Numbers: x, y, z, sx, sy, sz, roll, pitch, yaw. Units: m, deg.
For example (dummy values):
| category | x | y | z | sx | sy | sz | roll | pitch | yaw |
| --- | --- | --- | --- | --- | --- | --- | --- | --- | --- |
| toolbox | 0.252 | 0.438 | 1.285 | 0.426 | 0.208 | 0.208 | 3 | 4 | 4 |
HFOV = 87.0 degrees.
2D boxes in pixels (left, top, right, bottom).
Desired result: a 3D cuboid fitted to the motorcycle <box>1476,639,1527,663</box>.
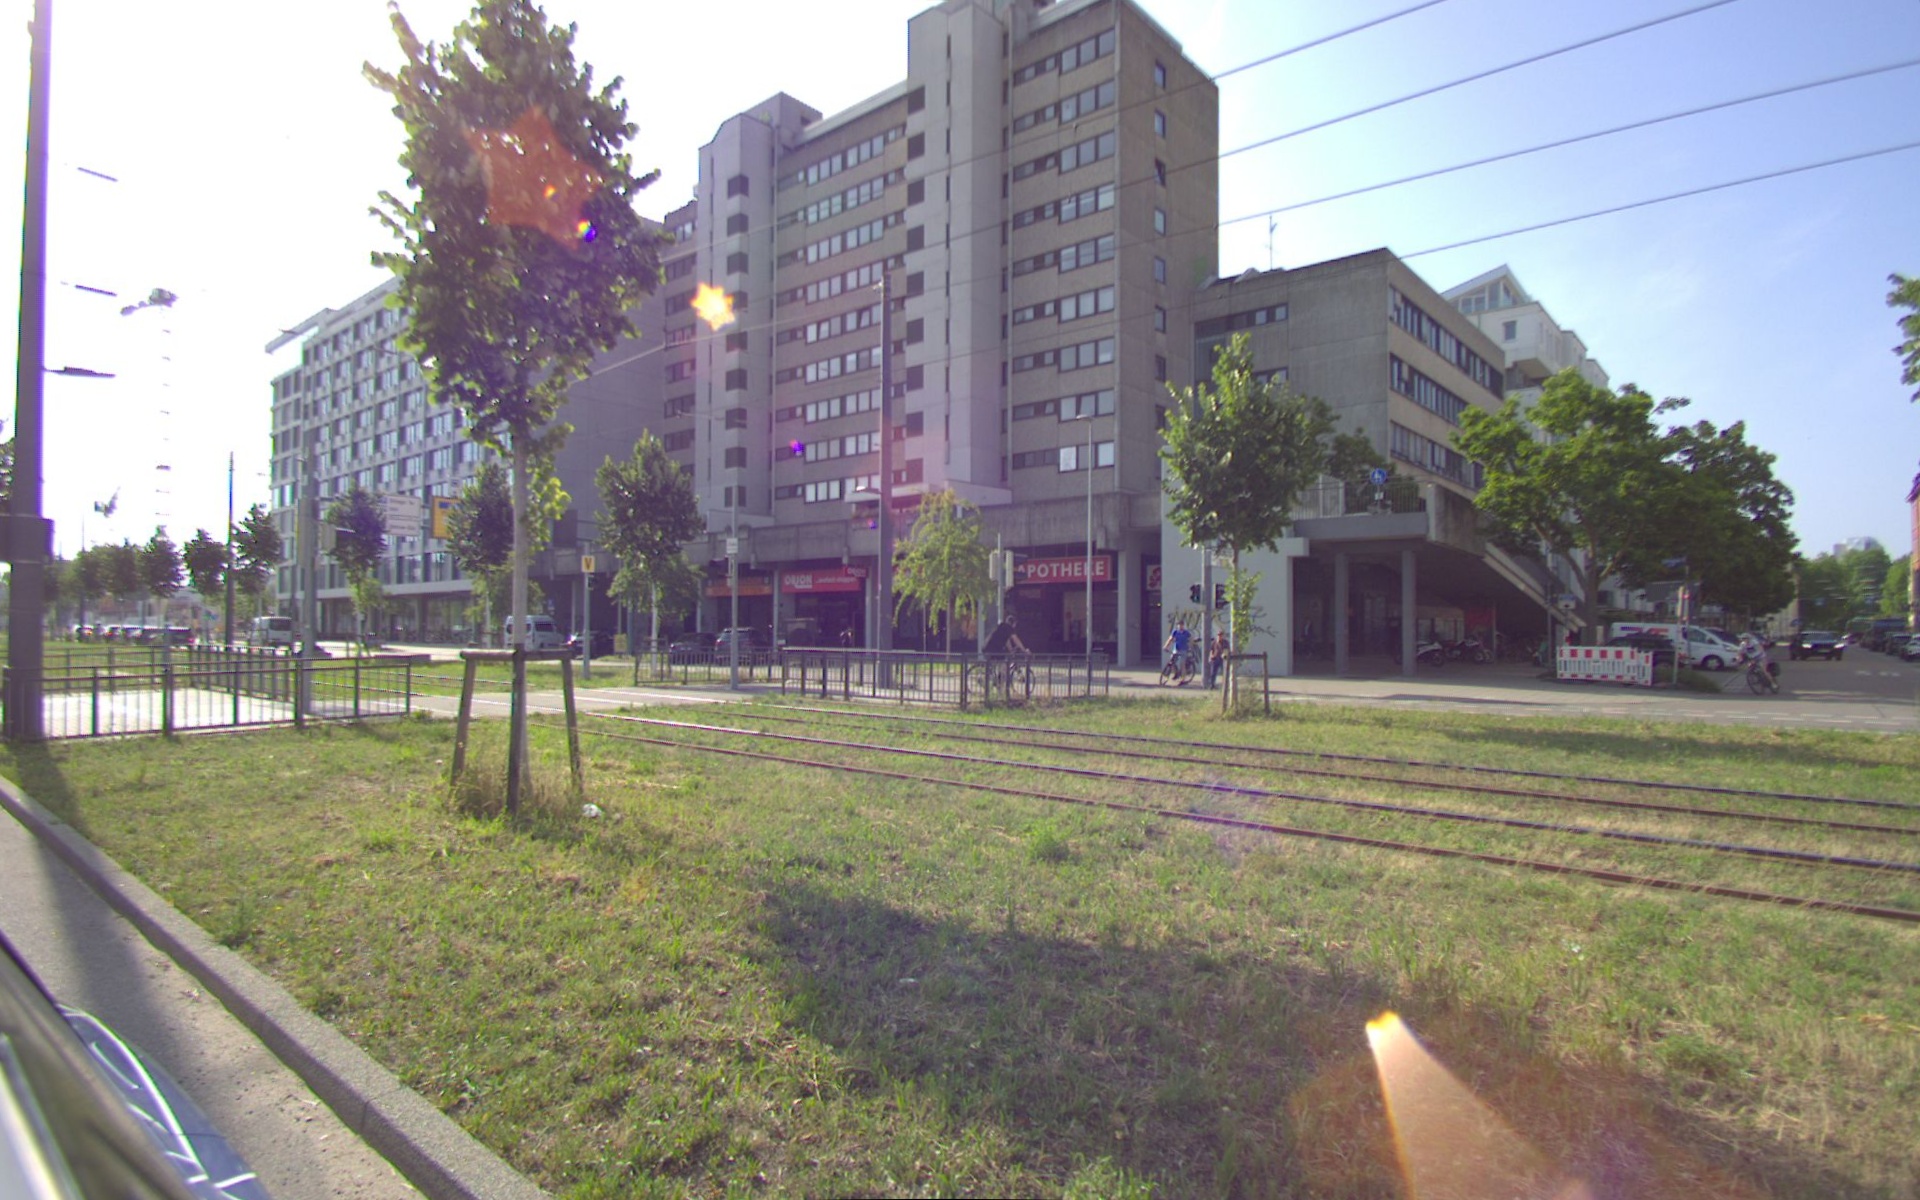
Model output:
| category | x | y | z | sx | sy | sz | roll | pitch | yaw |
| --- | --- | --- | --- | --- | --- | --- | --- | --- | --- |
| motorcycle | 24.016 | 2.233 | 44.921 | 1.945 | 1.025 | 0.487 | -1 | -2 | 42 |

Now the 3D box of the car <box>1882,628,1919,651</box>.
| category | x | y | z | sx | sy | sz | roll | pitch | yaw |
| --- | --- | --- | --- | --- | --- | --- | --- | --- | --- |
| car | 69.990 | 2.888 | 74.986 | 1.996 | 1.649 | 3.951 | -1 | -2 | 36 |

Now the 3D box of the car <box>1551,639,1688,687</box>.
| category | x | y | z | sx | sy | sz | roll | pitch | yaw |
| --- | --- | --- | --- | --- | --- | --- | --- | --- | --- |
| car | 25.867 | 2.433 | 39.758 | 4.374 | 1.640 | 1.891 | -1 | 0 | 38 |

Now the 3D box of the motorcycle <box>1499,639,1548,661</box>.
| category | x | y | z | sx | sy | sz | roll | pitch | yaw |
| --- | --- | --- | --- | --- | --- | --- | --- | --- | --- |
| motorcycle | 26.575 | 2.345 | 47.719 | 1.945 | 1.025 | 0.549 | -1 | -2 | 41 |

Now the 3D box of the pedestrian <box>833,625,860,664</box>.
| category | x | y | z | sx | sy | sz | roll | pitch | yaw |
| --- | --- | --- | --- | --- | --- | --- | --- | --- | --- |
| pedestrian | -5.014 | 1.971 | 44.782 | 1.102 | 1.709 | 0.743 | 0 | -2 | -2 |

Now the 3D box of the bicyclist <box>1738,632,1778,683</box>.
| category | x | y | z | sx | sy | sz | roll | pitch | yaw |
| --- | --- | --- | --- | --- | --- | --- | --- | --- | --- |
| bicyclist | 22.402 | 1.607 | 28.407 | 0.900 | 1.396 | 0.704 | 1 | -3 | -44 |

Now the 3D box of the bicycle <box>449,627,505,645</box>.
| category | x | y | z | sx | sy | sz | roll | pitch | yaw |
| --- | --- | --- | --- | --- | --- | --- | --- | --- | --- |
| bicycle | -38.972 | 2.897 | 81.662 | 3.937 | 1.377 | 1.128 | 1 | -2 | -40 |

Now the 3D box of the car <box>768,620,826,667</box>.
| category | x | y | z | sx | sy | sz | roll | pitch | yaw |
| --- | --- | --- | --- | --- | --- | --- | --- | --- | --- |
| car | -7.167 | 1.881 | 44.828 | 1.854 | 1.983 | 4.109 | 0 | -2 | 1 |

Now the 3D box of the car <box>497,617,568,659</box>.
| category | x | y | z | sx | sy | sz | roll | pitch | yaw |
| --- | --- | --- | --- | --- | --- | --- | --- | --- | --- |
| car | -25.184 | 2.209 | 59.806 | 1.859 | 2.326 | 5.407 | 0 | -2 | 0 |

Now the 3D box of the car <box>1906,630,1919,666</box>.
| category | x | y | z | sx | sy | sz | roll | pitch | yaw |
| --- | --- | --- | --- | --- | --- | --- | --- | --- | --- |
| car | 44.691 | 2.195 | 46.117 | 1.812 | 1.616 | 3.904 | -1 | -2 | 36 |

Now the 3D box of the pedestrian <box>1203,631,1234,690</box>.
| category | x | y | z | sx | sy | sz | roll | pitch | yaw |
| --- | --- | --- | --- | --- | --- | --- | --- | --- | --- |
| pedestrian | 7.515 | 1.745 | 29.436 | 0.646 | 1.703 | 0.651 | -2 | -2 | 44 |

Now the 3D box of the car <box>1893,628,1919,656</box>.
| category | x | y | z | sx | sy | sz | roll | pitch | yaw |
| --- | --- | --- | --- | --- | --- | --- | --- | --- | --- |
| car | 55.464 | 2.413 | 58.433 | 1.812 | 1.616 | 3.904 | -1 | -2 | 36 |

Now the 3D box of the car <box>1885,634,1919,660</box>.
| category | x | y | z | sx | sy | sz | roll | pitch | yaw |
| --- | --- | --- | --- | --- | --- | --- | --- | --- | --- |
| car | 61.516 | 3.045 | 65.617 | 1.812 | 1.616 | 3.904 | -1 | -2 | 36 |

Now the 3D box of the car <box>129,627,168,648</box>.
| category | x | y | z | sx | sy | sz | roll | pitch | yaw |
| --- | --- | --- | --- | --- | --- | --- | --- | --- | --- |
| car | -59.005 | 2.717 | 73.533 | 3.641 | 1.498 | 1.722 | -2 | -2 | 43 |

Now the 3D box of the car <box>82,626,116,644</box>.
| category | x | y | z | sx | sy | sz | roll | pitch | yaw |
| --- | --- | --- | --- | --- | --- | --- | --- | --- | --- |
| car | -73.452 | 2.941 | 86.289 | 4.000 | 1.486 | 1.787 | -1 | -2 | 43 |

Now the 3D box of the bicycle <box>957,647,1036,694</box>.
| category | x | y | z | sx | sy | sz | roll | pitch | yaw |
| --- | --- | --- | --- | --- | --- | --- | --- | --- | --- |
| bicycle | 0.773 | 1.488 | 21.304 | 1.585 | 0.942 | 0.559 | 4 | -5 | -29 |

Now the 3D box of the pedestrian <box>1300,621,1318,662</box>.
| category | x | y | z | sx | sy | sz | roll | pitch | yaw |
| --- | --- | --- | --- | --- | --- | --- | --- | --- | --- |
| pedestrian | 15.474 | 1.825 | 44.883 | 0.622 | 1.790 | 0.693 | -1 | -2 | 28 |

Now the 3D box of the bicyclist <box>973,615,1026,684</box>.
| category | x | y | z | sx | sy | sz | roll | pitch | yaw |
| --- | --- | --- | --- | --- | --- | --- | --- | --- | --- |
| bicyclist | 0.830 | 1.063 | 21.368 | 0.957 | 1.406 | 0.548 | 4 | -5 | -29 |

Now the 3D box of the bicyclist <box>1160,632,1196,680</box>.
| category | x | y | z | sx | sy | sz | roll | pitch | yaw |
| --- | --- | --- | --- | --- | --- | --- | --- | --- | --- |
| bicyclist | 6.704 | 1.710 | 31.106 | 0.685 | 1.451 | 1.010 | -2 | -2 | 42 |

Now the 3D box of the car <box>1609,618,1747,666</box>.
| category | x | y | z | sx | sy | sz | roll | pitch | yaw |
| --- | --- | --- | --- | --- | --- | --- | --- | --- | --- |
| car | 31.668 | 1.798 | 44.741 | 4.830 | 1.983 | 1.973 | 0 | -2 | 41 |

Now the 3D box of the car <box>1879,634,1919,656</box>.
| category | x | y | z | sx | sy | sz | roll | pitch | yaw |
| --- | --- | --- | --- | --- | --- | --- | --- | --- | --- |
| car | 72.786 | 3.473 | 78.482 | 1.812 | 1.616 | 3.904 | -1 | -2 | 36 |

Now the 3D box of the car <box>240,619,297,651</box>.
| category | x | y | z | sx | sy | sz | roll | pitch | yaw |
| --- | --- | --- | --- | --- | --- | --- | --- | --- | --- |
| car | -50.328 | 2.503 | 73.589 | 5.330 | 2.256 | 2.025 | -1 | -2 | 40 |

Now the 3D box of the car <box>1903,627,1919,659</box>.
| category | x | y | z | sx | sy | sz | roll | pitch | yaw |
| --- | --- | --- | --- | --- | --- | --- | --- | --- | --- |
| car | 51.401 | 2.258 | 53.487 | 1.812 | 1.616 | 3.904 | -1 | -2 | 36 |

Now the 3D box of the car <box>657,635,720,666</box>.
| category | x | y | z | sx | sy | sz | roll | pitch | yaw |
| --- | --- | --- | --- | --- | --- | --- | --- | --- | --- |
| car | -13.009 | 2.414 | 48.800 | 1.854 | 1.253 | 4.110 | -1 | 0 | 1 |

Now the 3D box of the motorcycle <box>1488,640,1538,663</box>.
| category | x | y | z | sx | sy | sz | roll | pitch | yaw |
| --- | --- | --- | --- | --- | --- | --- | --- | --- | --- |
| motorcycle | 25.345 | 2.337 | 46.380 | 1.945 | 1.025 | 0.549 | -1 | -2 | 41 |

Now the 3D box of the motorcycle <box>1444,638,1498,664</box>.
| category | x | y | z | sx | sy | sz | roll | pitch | yaw |
| --- | --- | --- | --- | --- | --- | --- | --- | --- | --- |
| motorcycle | 21.323 | 2.117 | 42.223 | 1.945 | 1.025 | 0.487 | -1 | -2 | 42 |

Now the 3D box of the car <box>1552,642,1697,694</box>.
| category | x | y | z | sx | sy | sz | roll | pitch | yaw |
| --- | --- | --- | --- | --- | --- | --- | --- | --- | --- |
| car | 24.683 | 2.471 | 37.635 | 4.374 | 1.640 | 1.891 | -1 | 0 | 38 |

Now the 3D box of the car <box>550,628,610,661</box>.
| category | x | y | z | sx | sy | sz | roll | pitch | yaw |
| --- | --- | --- | --- | --- | --- | --- | --- | --- | --- |
| car | -20.620 | 2.384 | 55.045 | 2.070 | 1.594 | 4.005 | -2 | 0 | -6 |

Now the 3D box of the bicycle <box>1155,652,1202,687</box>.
| category | x | y | z | sx | sy | sz | roll | pitch | yaw |
| --- | --- | --- | --- | --- | --- | --- | --- | --- | --- |
| bicycle | 6.733 | 2.125 | 31.147 | 0.685 | 0.998 | 1.644 | -2 | -2 | 41 |

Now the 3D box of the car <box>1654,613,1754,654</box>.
| category | x | y | z | sx | sy | sz | roll | pitch | yaw |
| --- | --- | --- | --- | --- | --- | --- | --- | --- | --- |
| car | 38.528 | 1.709 | 52.461 | 3.998 | 2.029 | 1.973 | -1 | -2 | 41 |

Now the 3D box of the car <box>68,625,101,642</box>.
| category | x | y | z | sx | sy | sz | roll | pitch | yaw |
| --- | --- | --- | --- | --- | --- | --- | --- | --- | --- |
| car | -79.054 | 3.011 | 91.364 | 3.999 | 1.536 | 1.764 | -1 | -2 | 42 |

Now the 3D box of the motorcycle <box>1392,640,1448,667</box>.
| category | x | y | z | sx | sy | sz | roll | pitch | yaw |
| --- | --- | --- | --- | --- | --- | --- | --- | --- | --- |
| motorcycle | 18.122 | 2.081 | 39.886 | 1.945 | 1.025 | 0.487 | -1 | -2 | 42 |

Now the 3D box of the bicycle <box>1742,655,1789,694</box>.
| category | x | y | z | sx | sy | sz | roll | pitch | yaw |
| --- | --- | --- | --- | --- | --- | --- | --- | --- | --- |
| bicycle | 22.691 | 2.068 | 28.489 | 2.311 | 1.007 | 0.708 | 2 | -2 | -44 |

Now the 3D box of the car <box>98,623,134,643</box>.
| category | x | y | z | sx | sy | sz | roll | pitch | yaw |
| --- | --- | --- | --- | --- | --- | --- | --- | --- | --- |
| car | -67.895 | 2.658 | 81.386 | 4.000 | 1.586 | 1.787 | -1 | -2 | 43 |

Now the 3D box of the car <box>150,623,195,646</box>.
| category | x | y | z | sx | sy | sz | roll | pitch | yaw |
| --- | --- | --- | --- | --- | --- | --- | --- | --- | --- |
| car | -53.298 | 2.335 | 68.483 | 4.000 | 1.492 | 1.787 | -1 | -2 | 43 |

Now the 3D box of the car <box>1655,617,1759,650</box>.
| category | x | y | z | sx | sy | sz | roll | pitch | yaw |
| --- | --- | --- | --- | --- | --- | --- | --- | --- | --- |
| car | 43.852 | 1.955 | 59.447 | 4.768 | 1.833 | 1.973 | -1 | -2 | 41 |

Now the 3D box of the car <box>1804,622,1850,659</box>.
| category | x | y | z | sx | sy | sz | roll | pitch | yaw |
| --- | --- | --- | --- | --- | --- | --- | --- | --- | --- |
| car | 48.734 | 2.262 | 56.932 | 1.810 | 2.029 | 3.947 | -2 | -2 | 39 |

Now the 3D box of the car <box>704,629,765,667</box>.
| category | x | y | z | sx | sy | sz | roll | pitch | yaw |
| --- | --- | --- | --- | --- | --- | --- | --- | --- | --- |
| car | -10.296 | 2.168 | 46.473 | 1.854 | 1.618 | 4.109 | 0 | -2 | 1 |
